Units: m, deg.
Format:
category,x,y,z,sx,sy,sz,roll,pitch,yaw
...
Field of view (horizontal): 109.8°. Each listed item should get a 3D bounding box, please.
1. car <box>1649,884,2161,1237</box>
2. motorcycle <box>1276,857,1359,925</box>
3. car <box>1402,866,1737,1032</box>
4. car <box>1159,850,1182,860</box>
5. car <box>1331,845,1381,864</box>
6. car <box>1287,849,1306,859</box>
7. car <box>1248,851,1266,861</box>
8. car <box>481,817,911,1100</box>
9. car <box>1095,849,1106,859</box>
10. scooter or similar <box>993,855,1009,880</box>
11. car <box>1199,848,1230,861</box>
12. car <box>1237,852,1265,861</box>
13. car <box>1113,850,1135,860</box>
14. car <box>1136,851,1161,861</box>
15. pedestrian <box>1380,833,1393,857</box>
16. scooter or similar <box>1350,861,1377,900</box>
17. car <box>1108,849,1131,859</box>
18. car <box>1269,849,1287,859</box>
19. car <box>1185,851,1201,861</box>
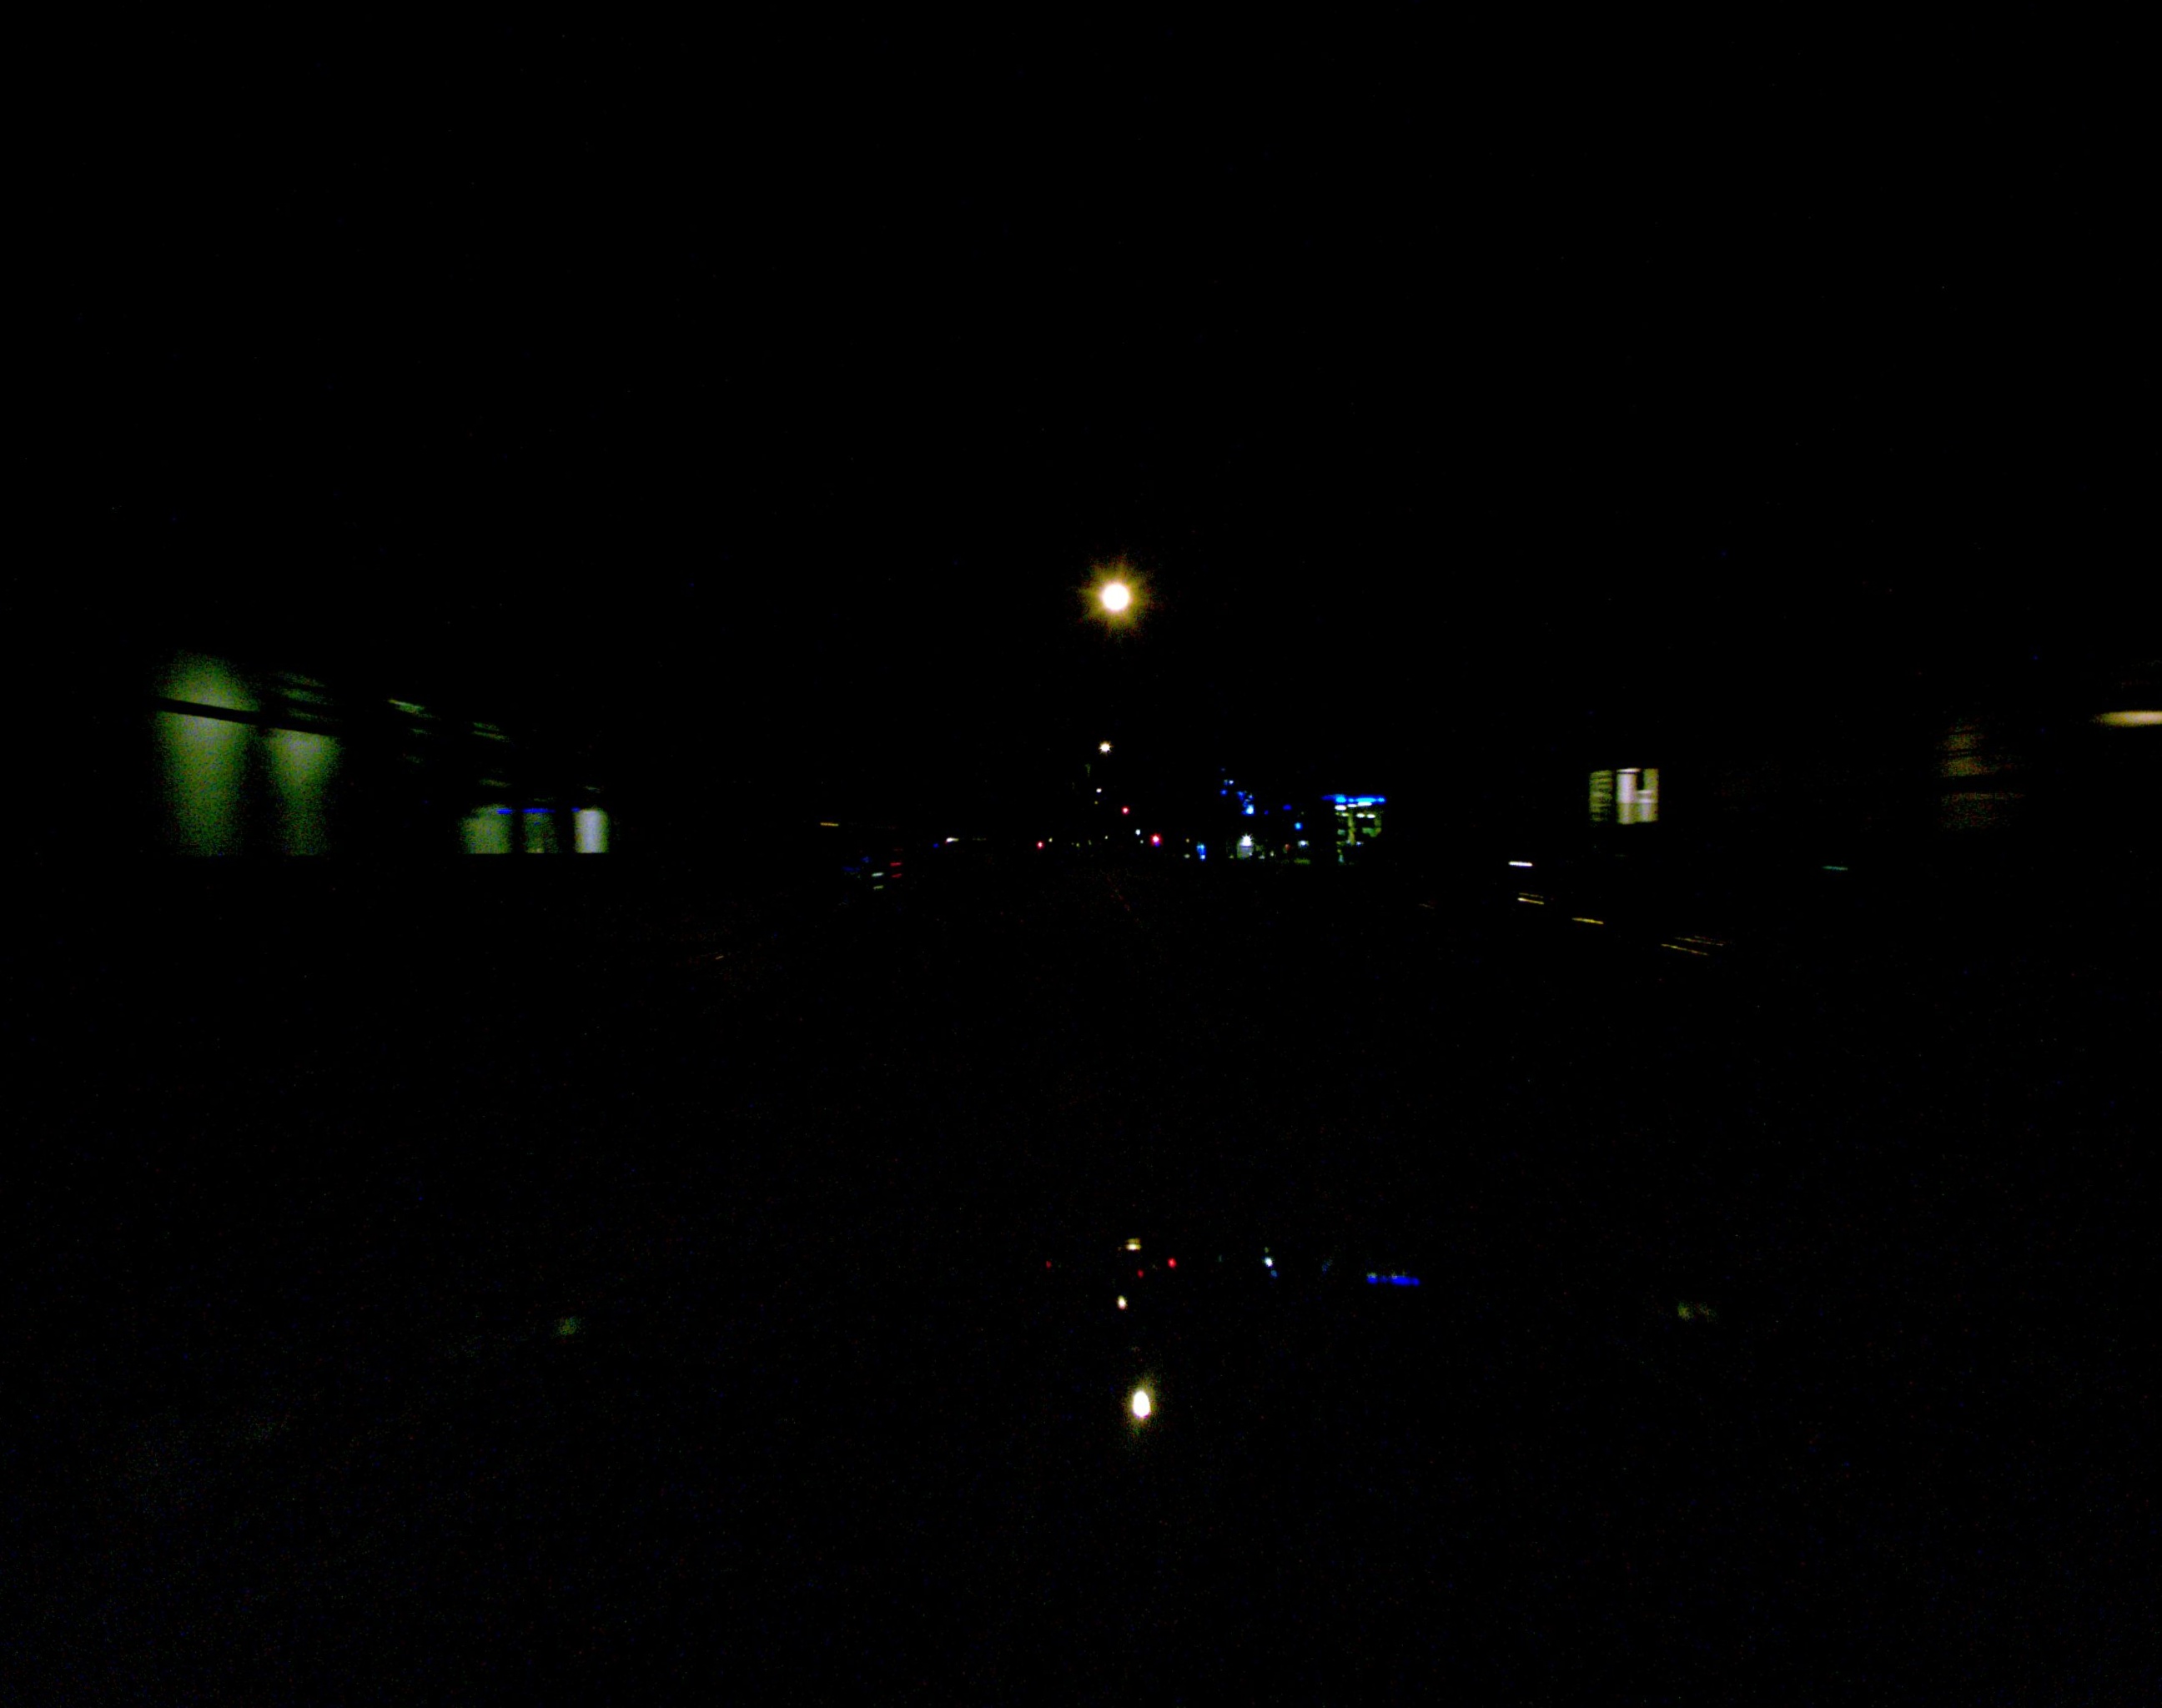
category,x,y,z,sx,sy,sz,roll,pitch,yaw
car,5.684,1.017,4.651,1.448,1.421,3.903,-3,0,0
motorcycle,5.869,0.896,18.882,1.909,1.541,0.638,-3,1,-19
car,5.699,0.980,9.524,1.646,1.496,3.903,-3,0,0
car,14.969,0.156,127.285,3.575,1.689,1.634,0,1,0
car,24.018,0.046,66.475,3.759,1.524,1.670,-1,1,0
car,33.098,-0.057,116.852,1.864,1.469,4.086,-1,0,0
car,27.026,0.241,116.761,1.864,1.469,4.353,-1,0,0
car,-3.166,0.717,7.545,1.956,1.952,4.603,0,0,-1
car,3.472,-0.024,135.306,1.936,1.646,3.833,0,1,0
scooter or similar,-4.320,0.723,41.018,0.548,1.196,1.910,3,2,1
car,19.110,0.064,108.767,4.082,1.848,1.853,0,1,1
car,28.095,0.370,125.599,4.280,1.469,1.730,-1,1,-27
car,7.101,0.216,125.977,3.576,1.619,1.620,0,1,-3
car,10.779,0.272,121.072,3.763,1.577,1.634,0,1,-3
pedestrian,20.214,-0.590,50.323,0.577,1.596,0.643,-1,1,-1
scooter or similar,9.181,0.854,24.694,0.368,1.197,1.427,0,1,1
car,6.673,0.027,130.742,3.848,1.781,1.634,0,1,-3
car,30.206,-0.028,116.773,1.732,1.469,4.086,-1,0,0
car,17.218,0.356,116.667,1.864,1.452,4.069,0,0,0
